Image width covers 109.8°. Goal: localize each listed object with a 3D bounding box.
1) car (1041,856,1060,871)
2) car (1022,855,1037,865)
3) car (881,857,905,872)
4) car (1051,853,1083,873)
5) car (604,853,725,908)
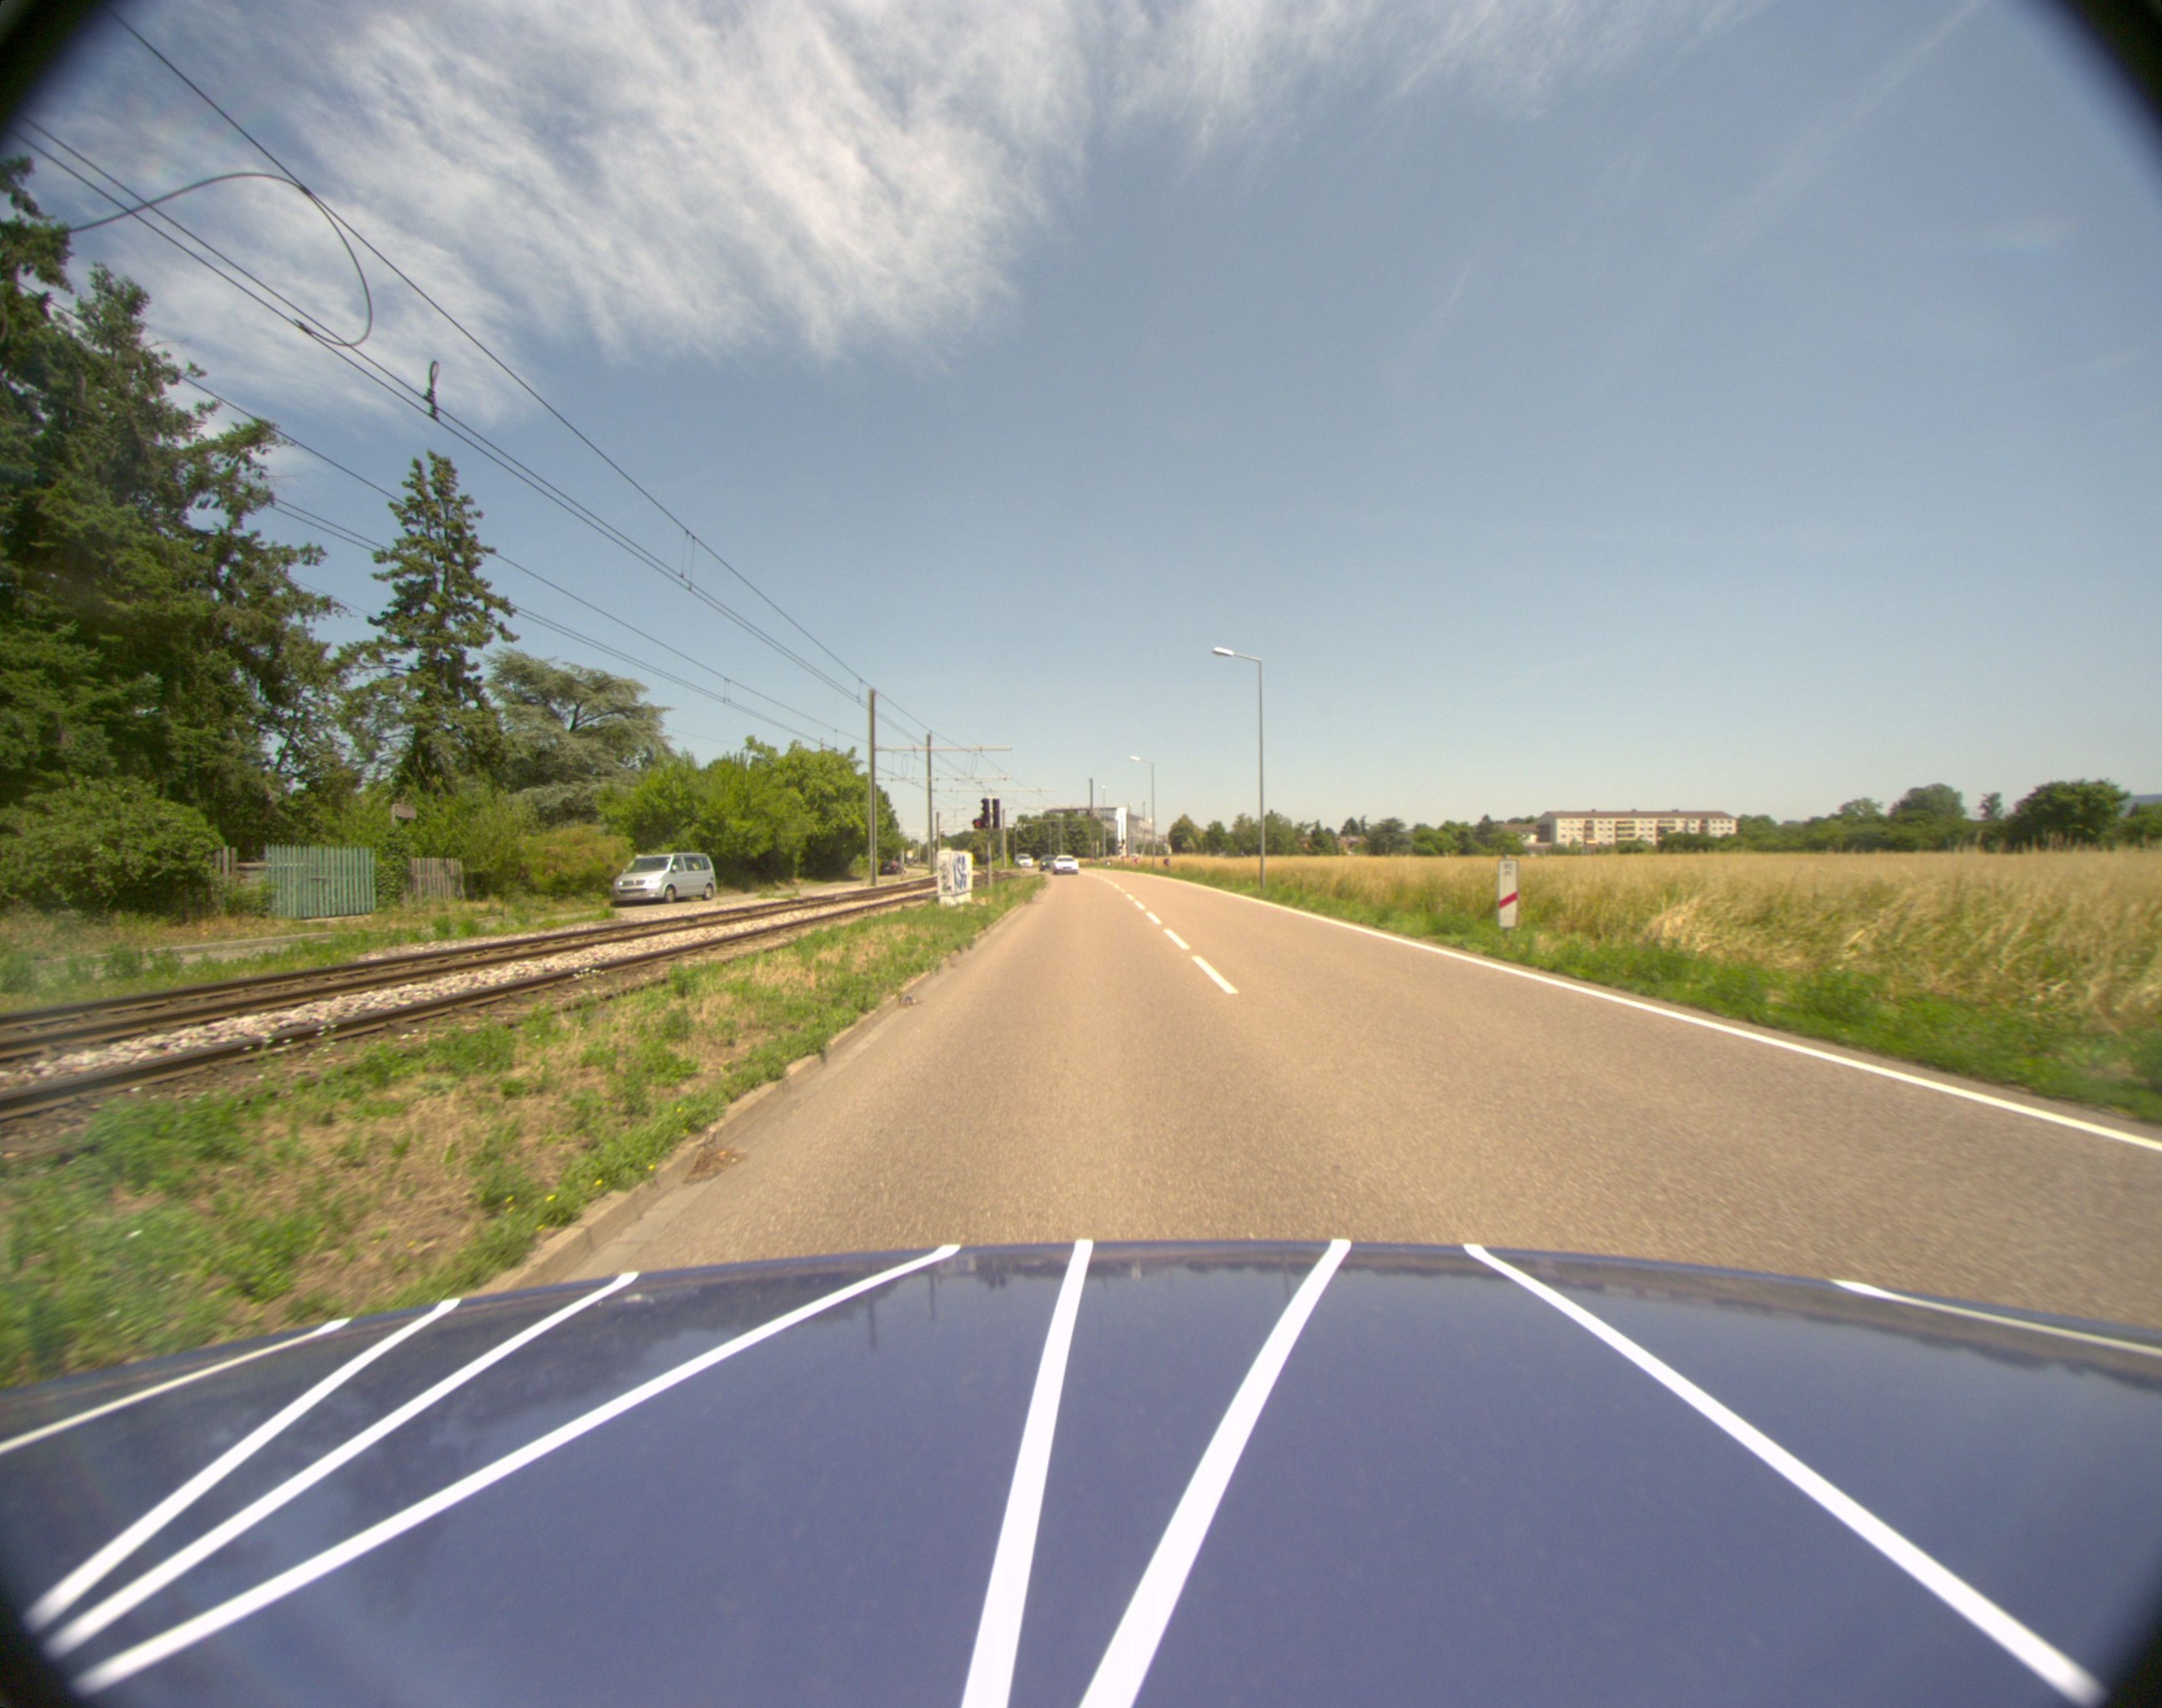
[{"bbox_3d":[-2.999,0.896,74.341,1.511,1.423,3.355,-1,1,-9],"label":"car"},{"bbox_3d":[-6.761,0.756,99.307,1.633,1.242,3.160,-1,1,-9],"label":"car"},{"bbox_3d":[-19.317,1.029,78.134,1.802,1.418,4.736,-1,1,-7],"label":"car"},{"bbox_3d":[-1.128,0.710,59.941,1.773,1.434,4.124,-1,1,-12],"label":"car"},{"bbox_3d":[-16.038,0.934,29.616,2.042,1.871,5.066,-1,1,-2],"label":"car"}]
